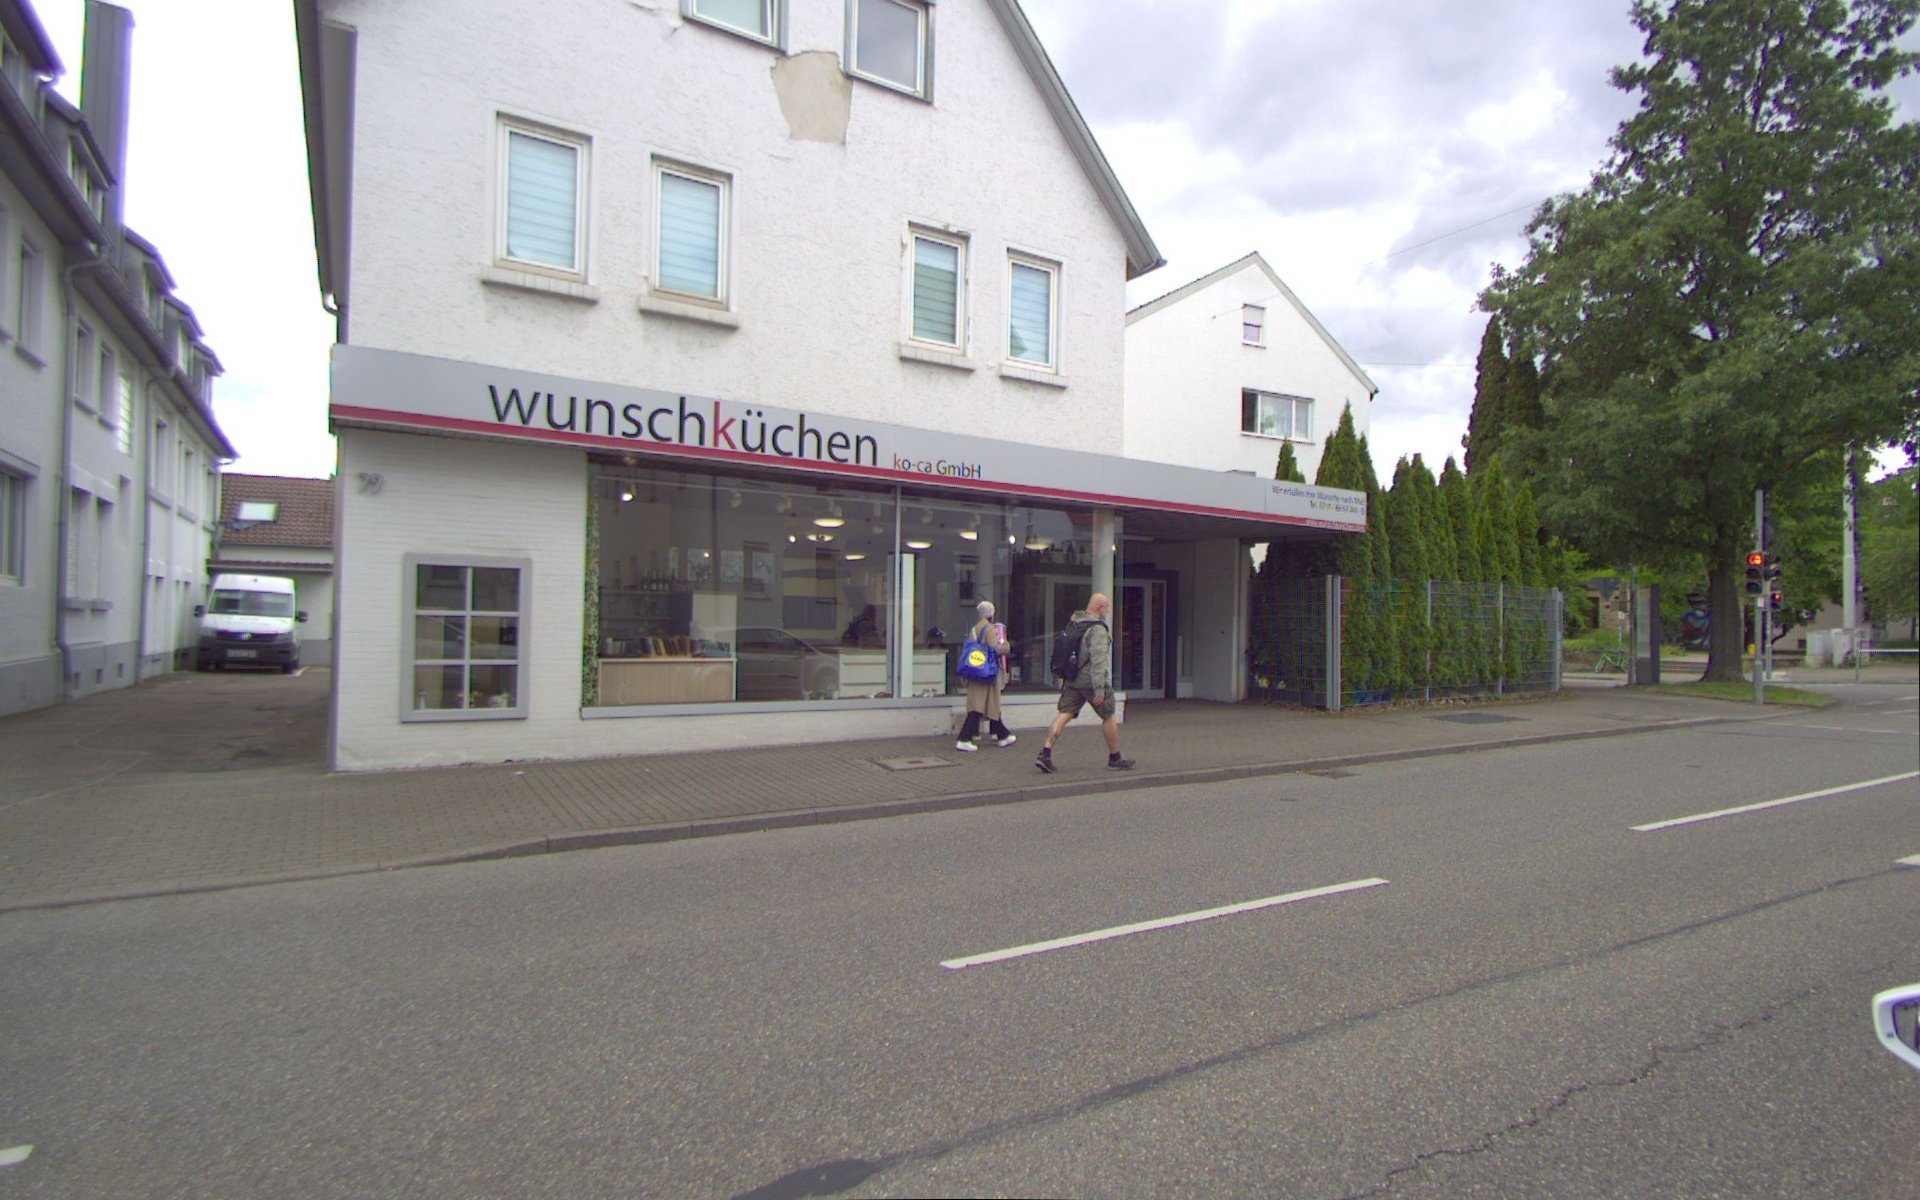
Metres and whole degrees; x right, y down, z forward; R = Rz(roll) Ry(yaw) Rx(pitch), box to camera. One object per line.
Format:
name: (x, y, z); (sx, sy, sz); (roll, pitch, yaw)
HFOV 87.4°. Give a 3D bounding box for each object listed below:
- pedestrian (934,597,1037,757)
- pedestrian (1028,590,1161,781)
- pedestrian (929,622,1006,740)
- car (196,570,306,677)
pedestrian: (0.271, 0.813, 10.972); (0.784, 1.638, 0.747); (1, 2, -31)
pedestrian: (1.324, 0.805, 9.916); (1.008, 1.767, 0.747); (1, 1, -31)
pedestrian: (0.084, 0.923, 11.675); (0.647, 1.297, 0.596); (1, 1, -31)
car: (-19.070, 0.591, 27.257); (1.938, 2.541, 5.943); (4, -2, -32)
